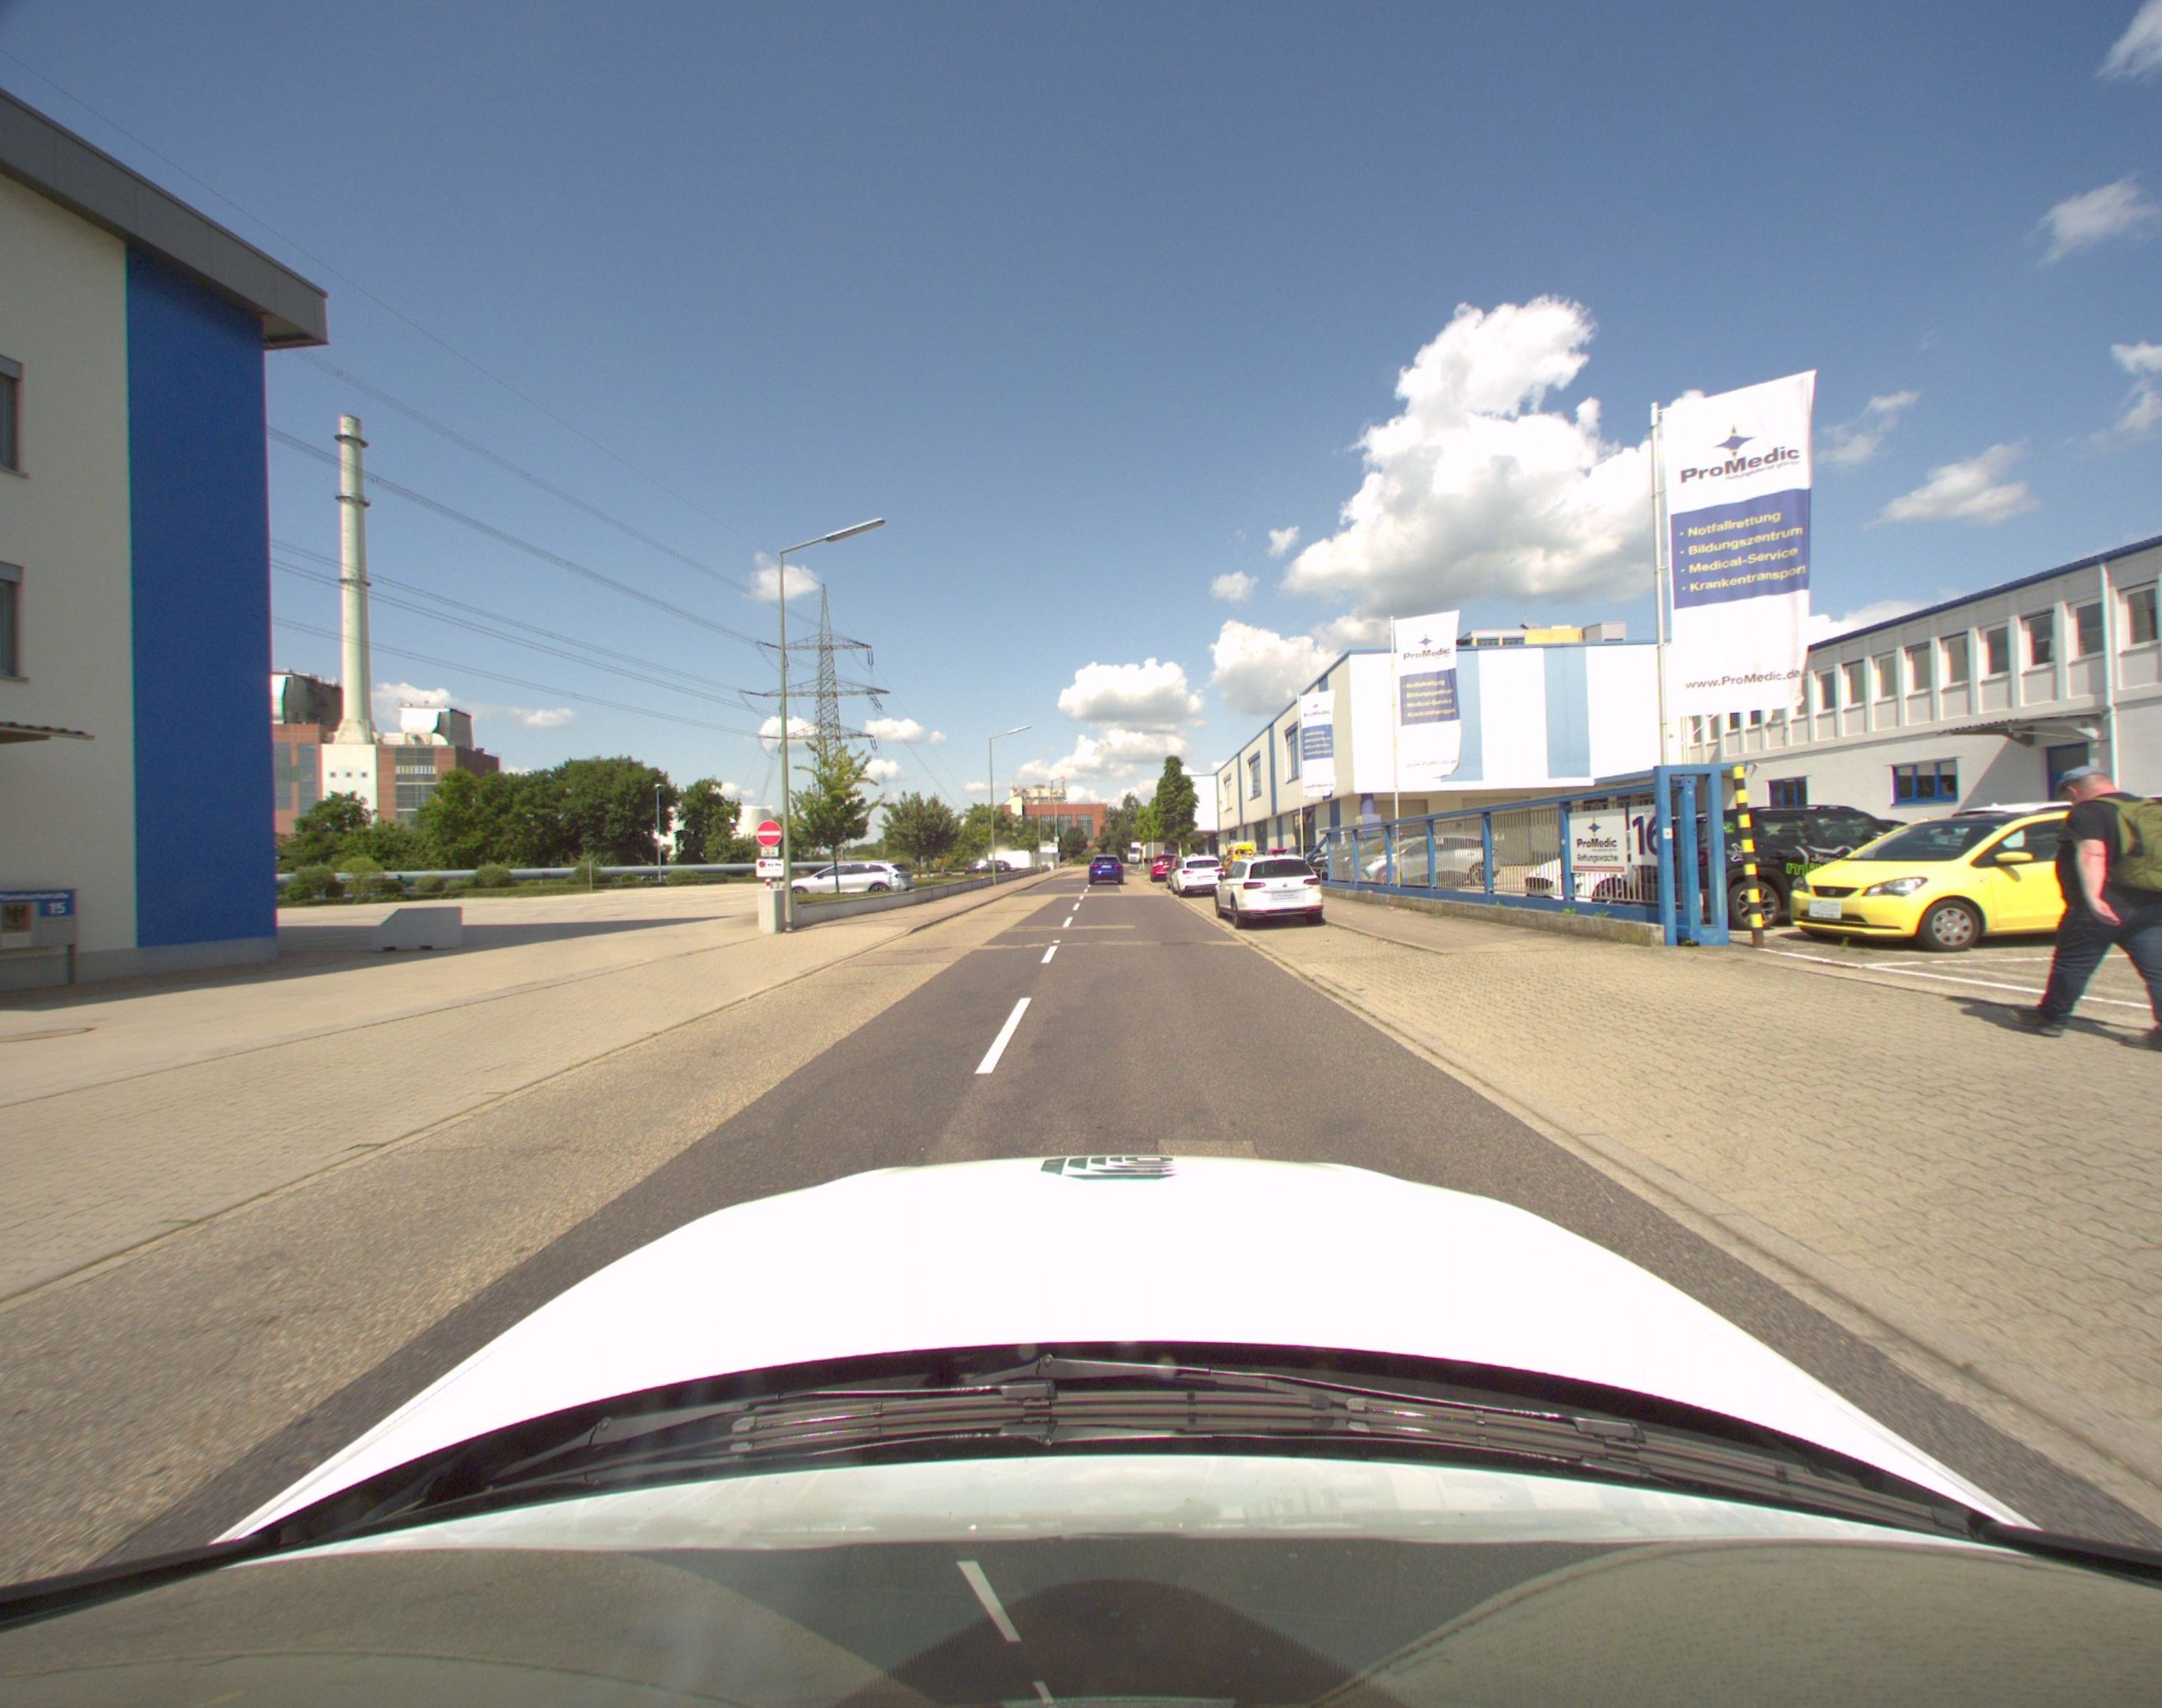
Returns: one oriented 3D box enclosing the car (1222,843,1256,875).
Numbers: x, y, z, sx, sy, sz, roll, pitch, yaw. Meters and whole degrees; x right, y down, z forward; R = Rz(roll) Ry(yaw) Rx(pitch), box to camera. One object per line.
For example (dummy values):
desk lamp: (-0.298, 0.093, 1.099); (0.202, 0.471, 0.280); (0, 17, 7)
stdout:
car: (13.005, 0.427, 67.316); (1.916, 2.464, 5.261); (-1, -1, 2)

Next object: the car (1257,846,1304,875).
car: (12.443, 0.475, 51.023); (1.986, 1.657, 4.291); (-2, -2, 2)

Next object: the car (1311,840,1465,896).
car: (9.939, 0.439, 26.613); (4.212, 1.647, 2.147); (-1, -1, 0)

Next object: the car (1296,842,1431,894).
car: (9.938, 0.499, 28.883); (4.070, 1.686, 2.000); (-1, -1, 0)

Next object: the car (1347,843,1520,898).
car: (10.361, 0.480, 24.219); (4.263, 1.420, 2.001); (-2, -1, 2)

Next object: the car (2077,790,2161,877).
car: (22.162, -0.439, 15.564); (3.973, 1.630, 1.807); (-2, -1, 1)

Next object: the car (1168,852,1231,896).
car: (4.423, 0.741, 31.044); (1.828, 1.520, 4.462); (-1, -1, 1)

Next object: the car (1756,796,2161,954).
car: (10.300, 0.214, 9.433); (3.391, 1.490, 1.792); (-3, -1, 1)

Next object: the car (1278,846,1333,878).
car: (12.135, 0.483, 44.329); (1.820, 1.513, 4.642); (-2, -3, 2)

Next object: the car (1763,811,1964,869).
car: (22.634, -0.382, 23.681); (3.973, 1.508, 1.935); (-2, -1, 0)

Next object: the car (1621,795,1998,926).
car: (10.299, 0.097, 11.752); (3.792, 1.680, 1.792); (-1, -1, 1)

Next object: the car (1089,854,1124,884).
car: (1.442, 0.872, 46.385); (1.902, 1.593, 4.702); (-1, -1, 1)

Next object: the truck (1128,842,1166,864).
truck: (11.135, -0.237, 136.177); (2.298, 3.567, 9.427); (0, 1, 32)

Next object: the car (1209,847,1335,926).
car: (4.126, 0.676, 18.387); (1.861, 1.520, 4.599); (-1, -1, 1)

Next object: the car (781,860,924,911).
car: (-8.453, 1.156, 30.457); (4.742, 1.602, 1.998); (-3, -1, -2)

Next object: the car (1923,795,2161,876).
car: (22.709, -0.422, 19.051); (3.973, 1.701, 1.935); (-2, -1, 1)

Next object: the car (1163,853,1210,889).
car: (4.692, 0.758, 36.651); (1.662, 1.520, 3.996); (-1, -1, 2)

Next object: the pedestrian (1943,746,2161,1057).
pedestrian: (6.218, 0.266, 5.056); (0.766, 1.756, 0.787); (-3, -1, 1)

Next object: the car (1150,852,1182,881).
car: (5.138, 0.769, 49.680); (1.747, 1.651, 4.682); (-1, -1, 4)

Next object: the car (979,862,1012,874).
car: (-10.749, 1.799, 102.413); (3.948, 1.378, 1.815); (-2, -1, 36)

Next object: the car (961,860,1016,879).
car: (-7.225, 1.186, 63.654); (3.972, 1.376, 1.804); (-2, -1, 1)

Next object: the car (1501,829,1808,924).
car: (9.923, 0.376, 14.373); (3.971, 1.420, 2.001); (-2, -1, 2)
